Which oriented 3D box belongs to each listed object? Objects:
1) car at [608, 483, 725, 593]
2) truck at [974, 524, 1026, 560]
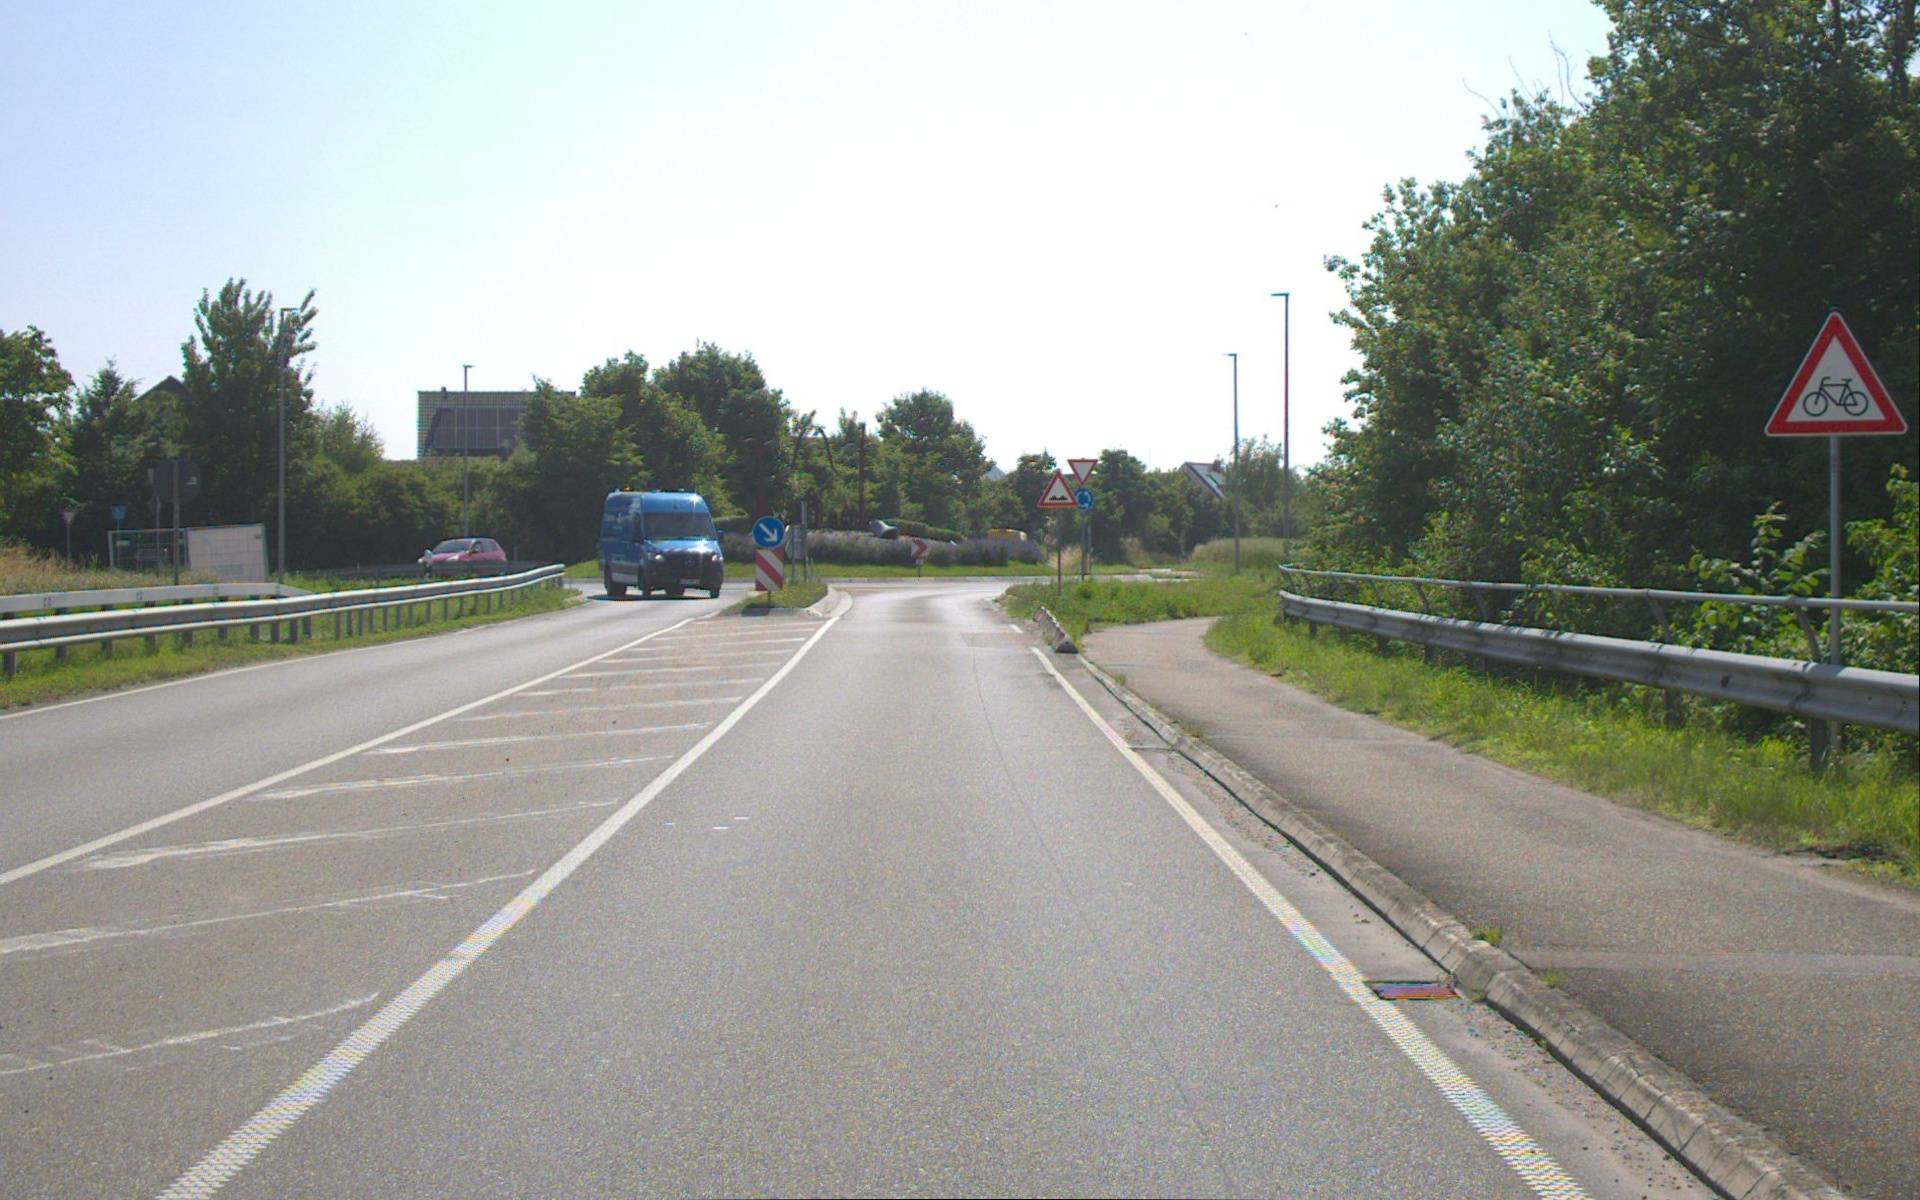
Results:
[{"bbox_3d":[-7.451,-1.558,86.623,1.993,2.602,7.293,-2,1,-12],"label":"car"},{"bbox_3d":[2.247,-3.243,192.632,1.995,2.007,3.997,1,1,14],"label":"truck"}]
